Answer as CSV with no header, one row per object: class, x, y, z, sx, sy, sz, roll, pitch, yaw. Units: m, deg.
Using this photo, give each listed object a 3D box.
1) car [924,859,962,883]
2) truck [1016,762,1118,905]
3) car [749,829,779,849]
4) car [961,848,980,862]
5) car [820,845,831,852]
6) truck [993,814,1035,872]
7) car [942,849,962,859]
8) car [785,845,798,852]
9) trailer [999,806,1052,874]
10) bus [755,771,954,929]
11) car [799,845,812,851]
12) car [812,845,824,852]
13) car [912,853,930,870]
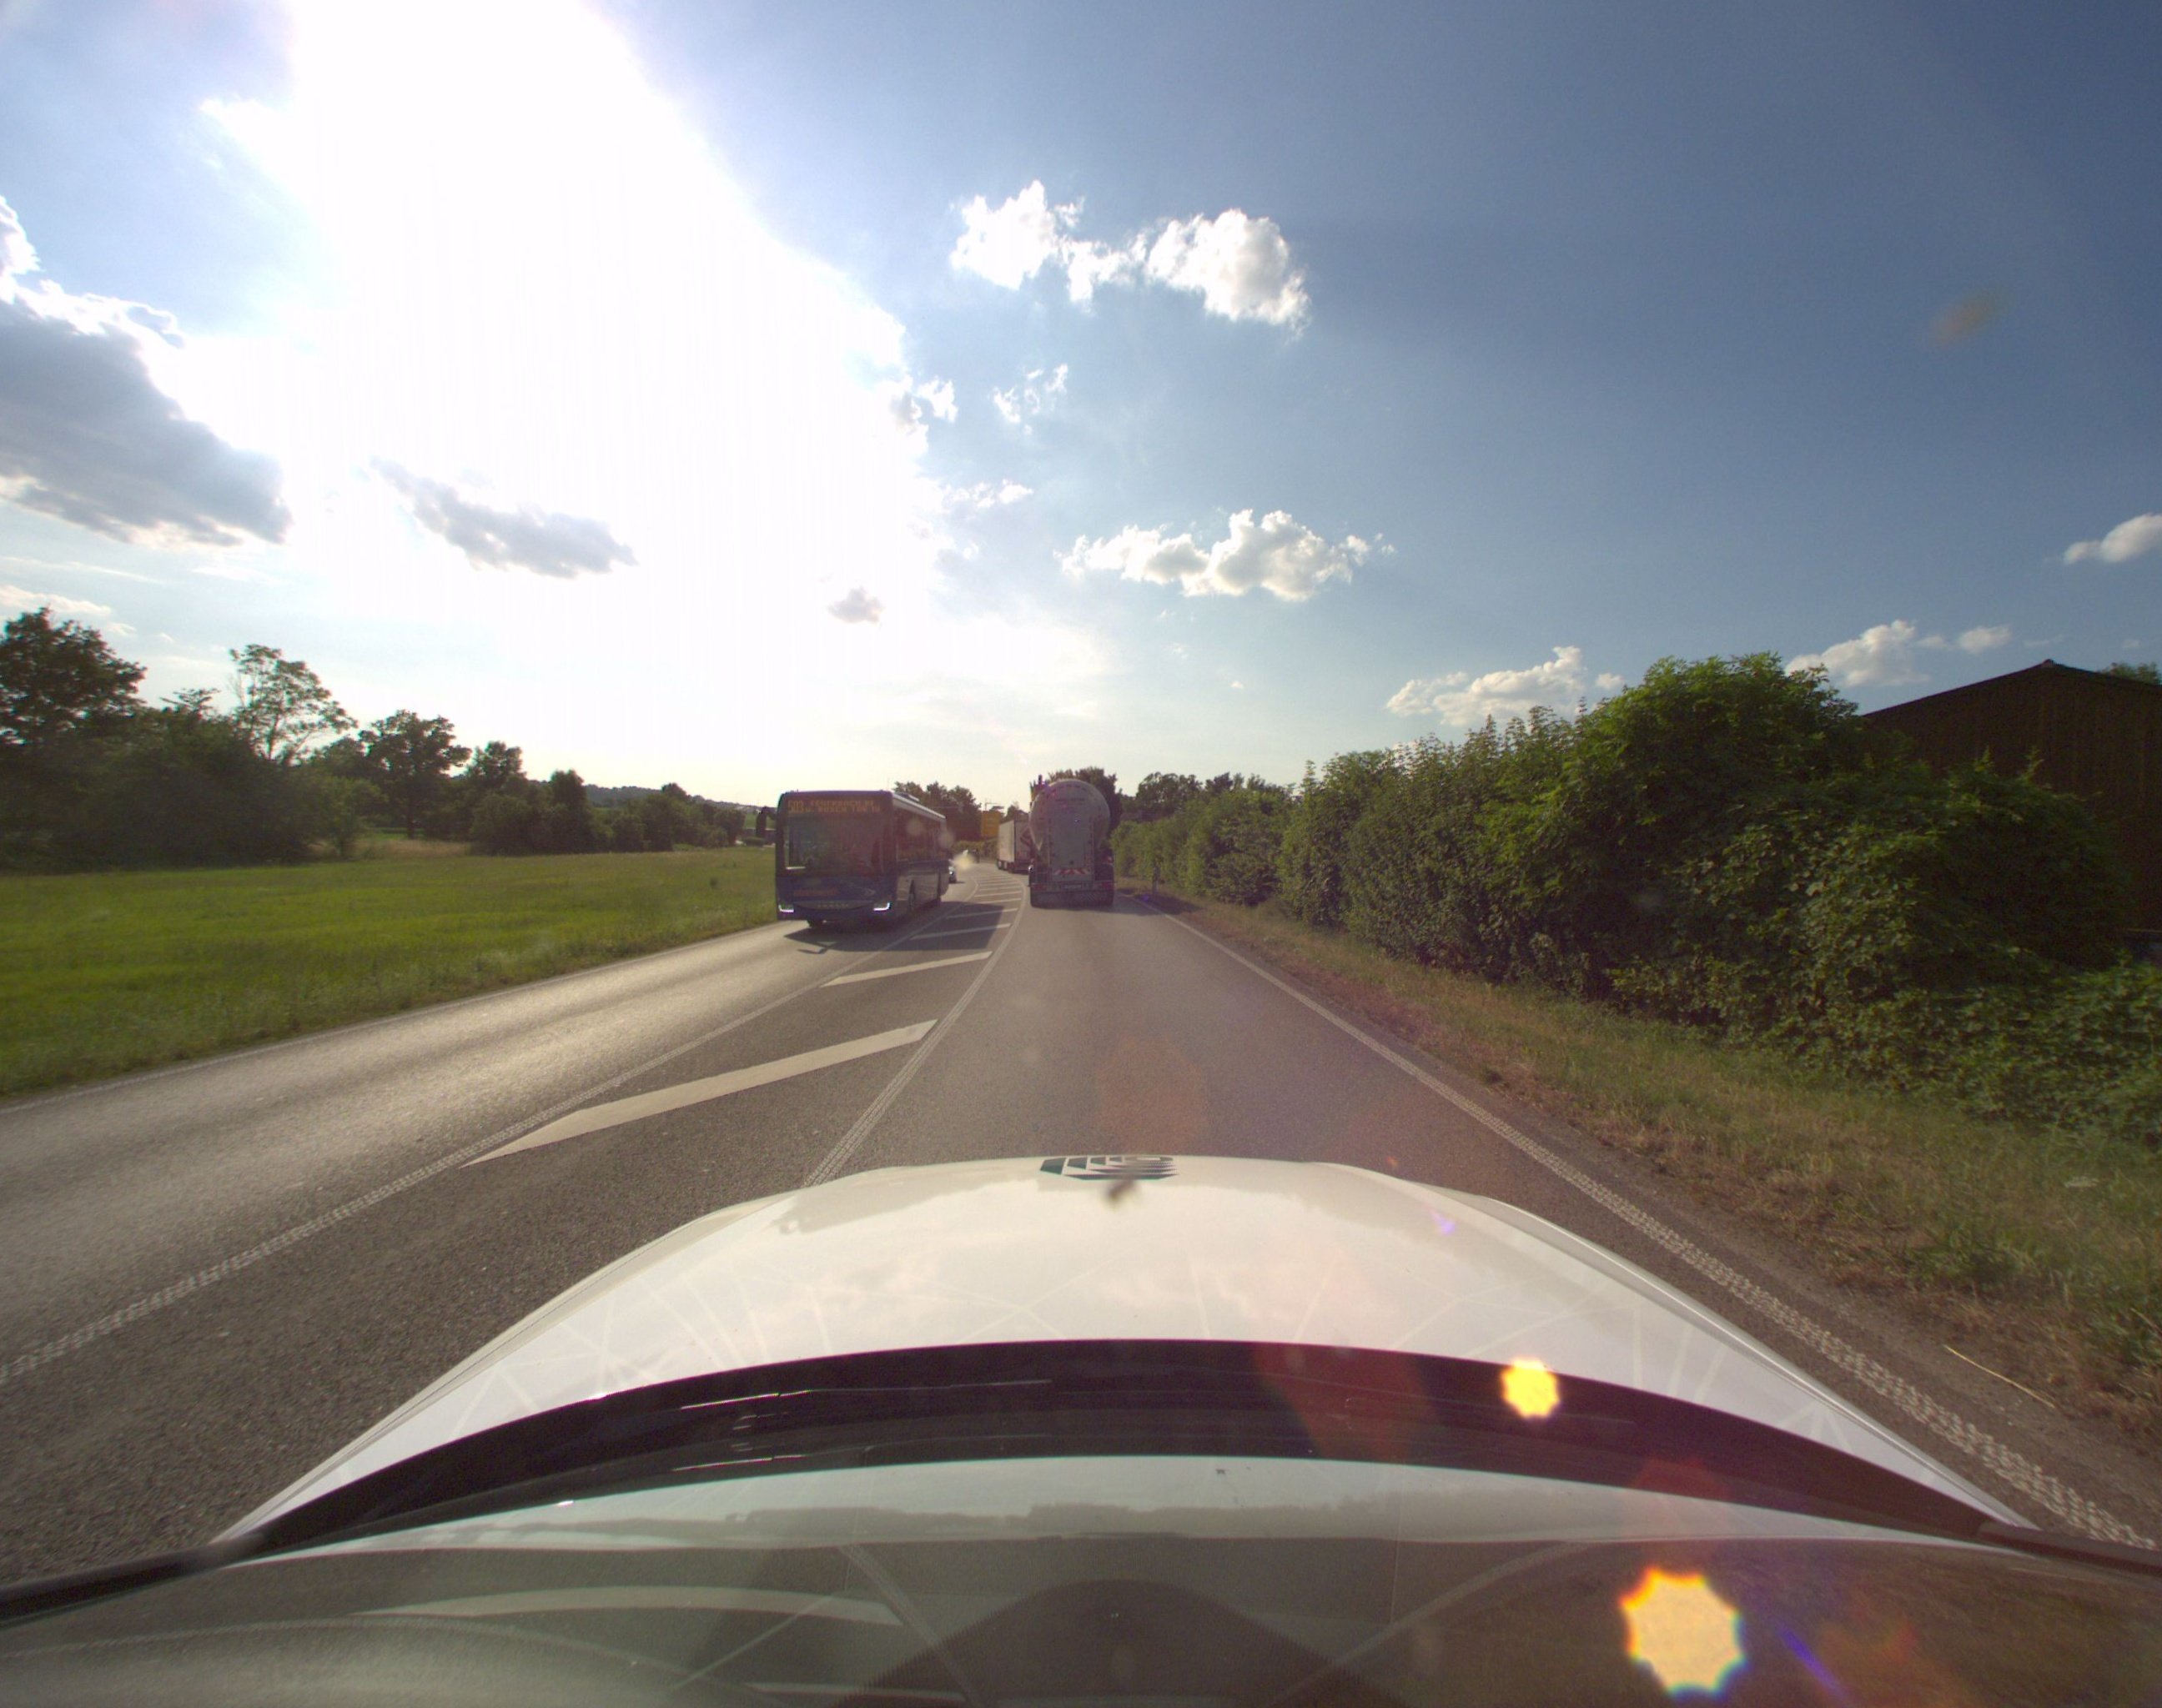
car,-8.162,0.964,48.350,1.696,1.334,4.743,-1,-1,-3
truck,-0.509,-0.498,29.603,2.967,4.176,11.655,0,-1,-1
car,-83.773,-3.861,215.039,3.571,5.059,13.088,0,0,-40
car,-13.547,0.135,99.787,1.996,1.656,3.982,0,-1,-13
car,-58.004,-1.176,185.045,1.892,1.599,3.966,0,0,-26
truck,-5.893,-0.859,71.137,2.964,4.887,6.405,0,-1,-11
car,-18.523,0.019,116.707,1.692,1.468,3.966,0,-1,-26
car,-71.821,-1.407,201.712,1.897,1.599,3.955,0,0,-38
trailer,-4.533,-0.916,64.124,2.965,4.882,10.248,0,-1,-11
bus,-5.496,0.025,22.492,2.788,3.182,12.109,0,-1,-3
car,-66.586,-1.466,196.773,1.895,1.599,3.959,0,0,-32
car,-61.425,-1.358,190.318,1.893,1.599,3.962,0,0,-30
car,-15.466,0.735,78.789,1.695,1.552,4.136,0,-1,-11
